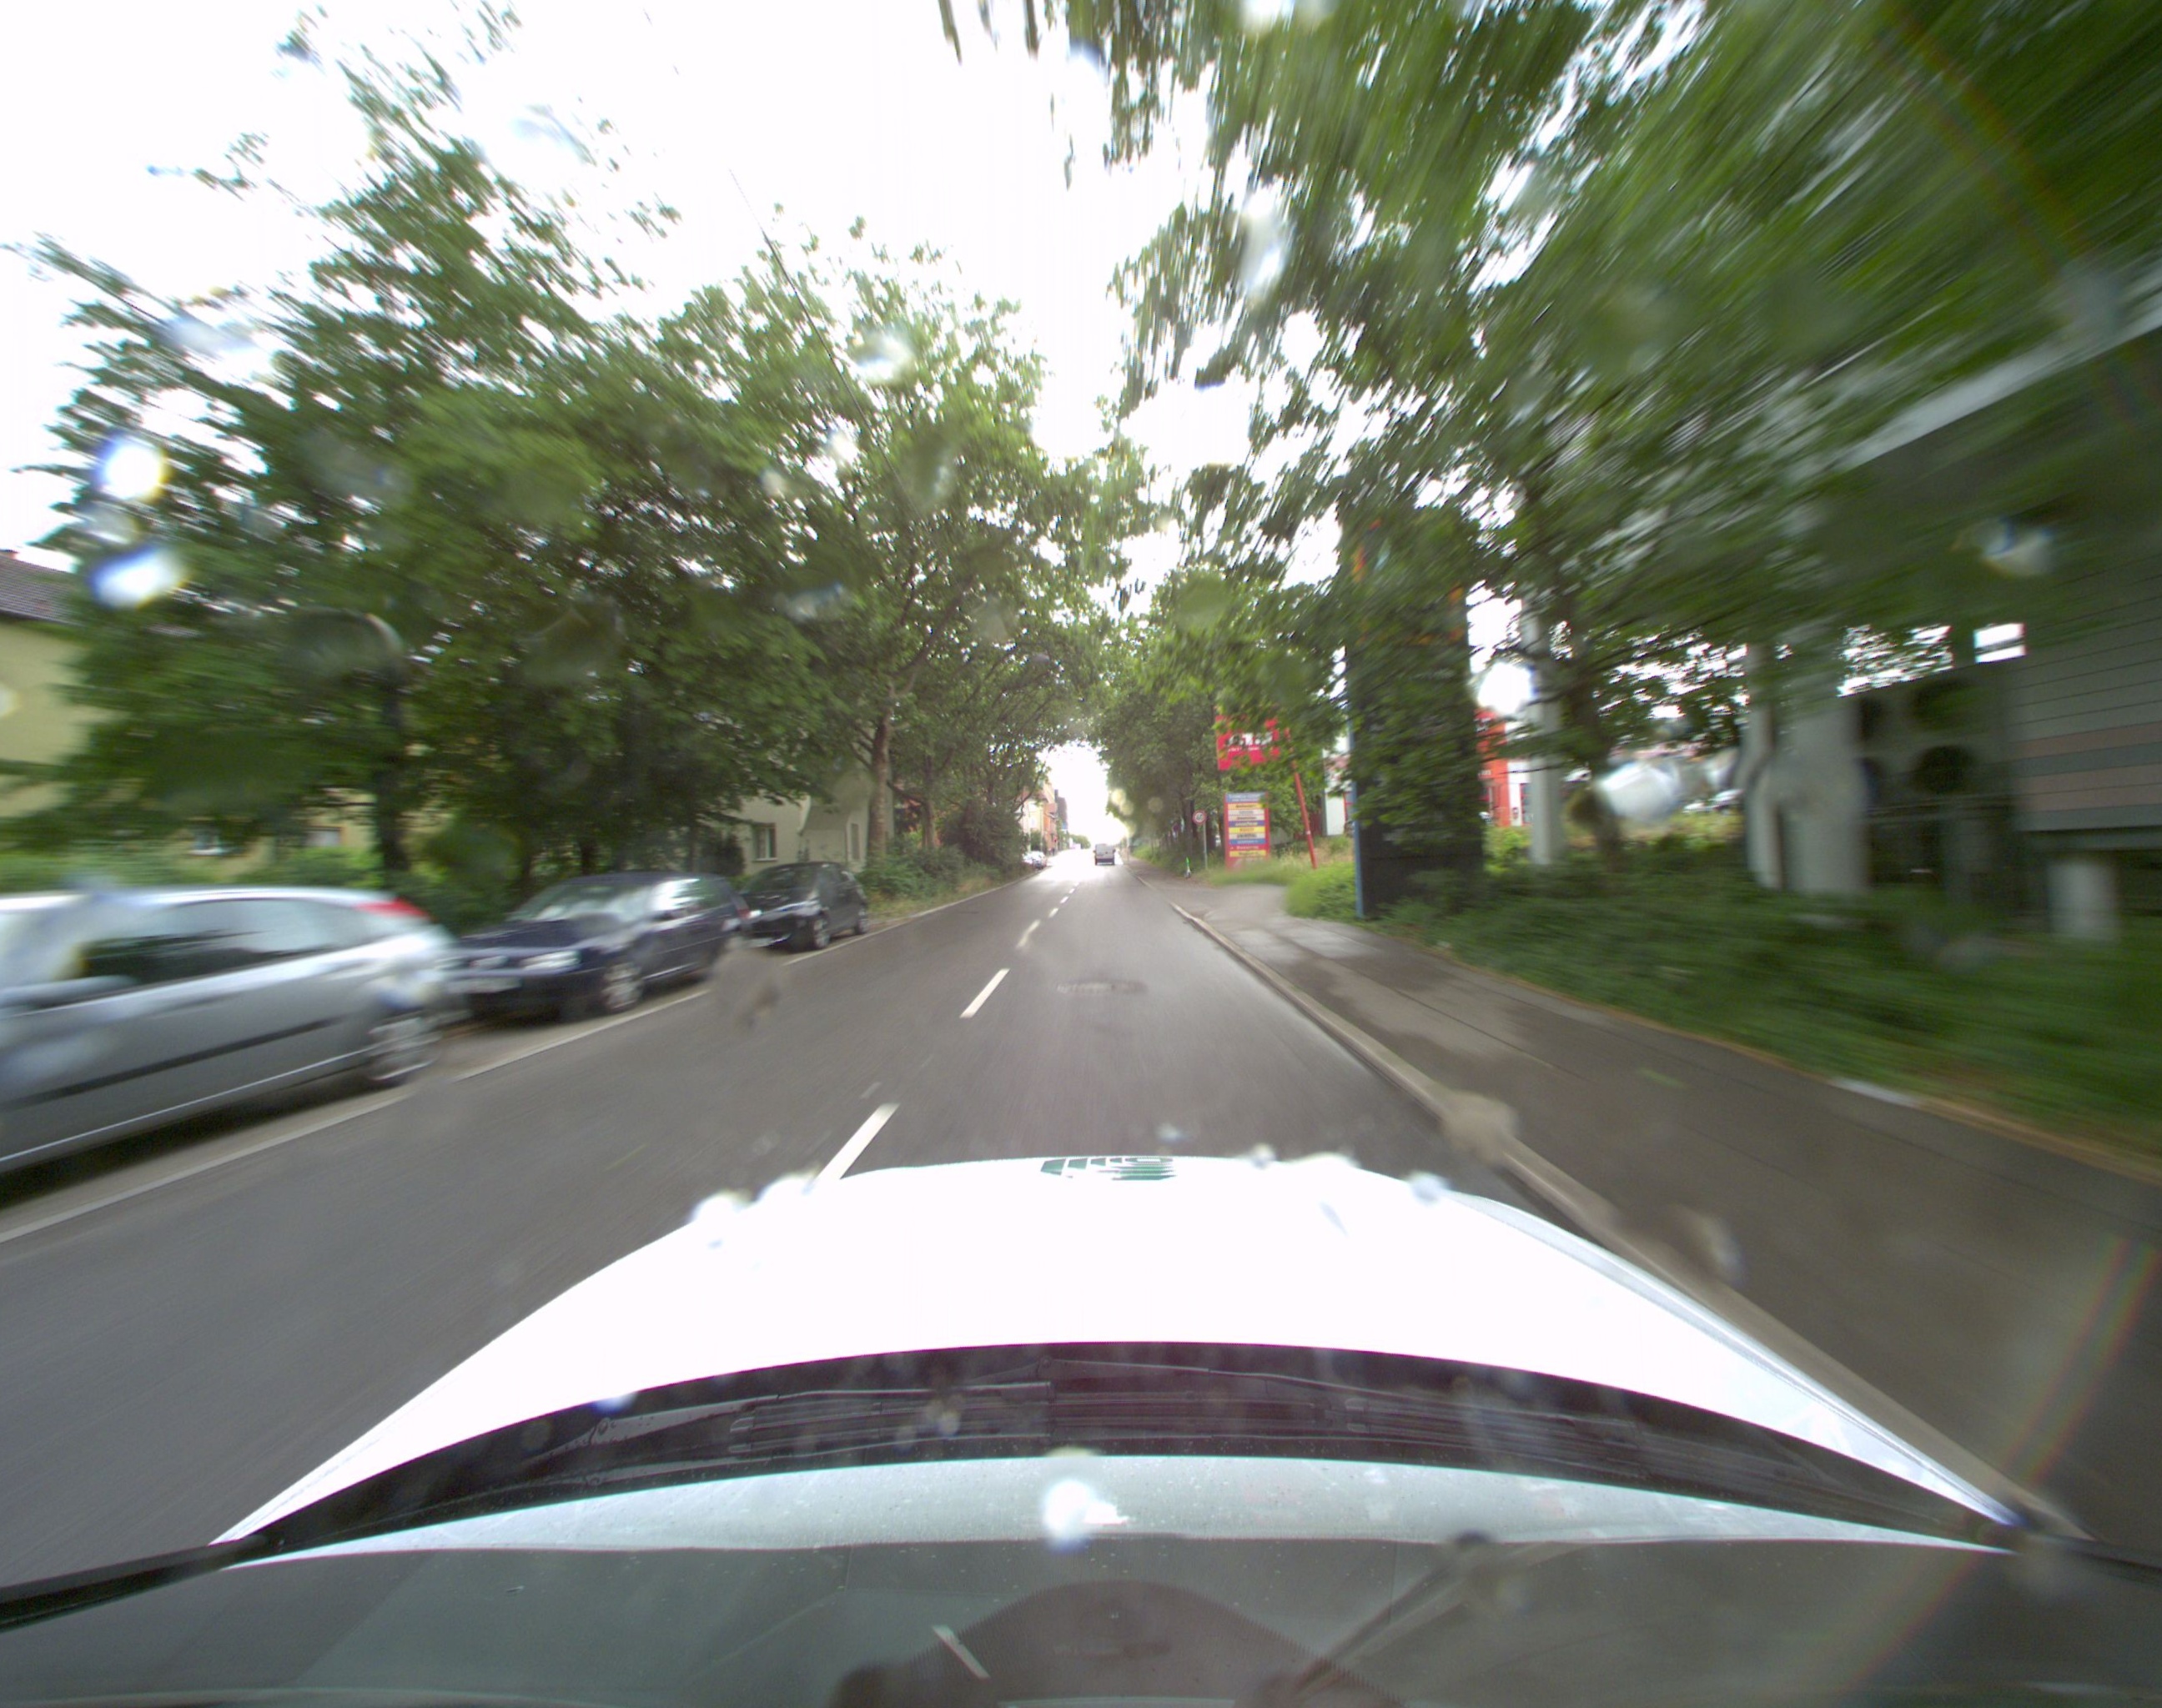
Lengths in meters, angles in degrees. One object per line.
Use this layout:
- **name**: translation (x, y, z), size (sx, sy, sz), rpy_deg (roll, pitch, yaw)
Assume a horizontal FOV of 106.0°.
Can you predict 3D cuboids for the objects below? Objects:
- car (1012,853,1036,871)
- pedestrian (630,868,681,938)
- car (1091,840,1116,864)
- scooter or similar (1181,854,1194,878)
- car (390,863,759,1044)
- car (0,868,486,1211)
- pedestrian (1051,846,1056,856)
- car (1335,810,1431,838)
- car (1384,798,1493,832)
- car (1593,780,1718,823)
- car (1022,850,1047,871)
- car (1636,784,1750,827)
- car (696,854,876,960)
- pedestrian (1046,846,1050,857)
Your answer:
- **car**: translation (-4.470, 0.614, 64.259), size (1.633, 1.373, 3.758), rpy_deg (-2, 0, 0)
- **pedestrian**: translation (-10.136, 1.167, 19.430), size (0.584, 1.620, 1.022), rpy_deg (0, -3, 3)
- **car**: translation (2.343, -0.169, 82.881), size (2.327, 2.231, 4.002), rpy_deg (-3, -1, 2)
- **scooter or similar**: translation (5.255, 0.598, 40.111), size (0.424, 1.142, 1.528), rpy_deg (0, -2, 0)
- **car**: translation (-5.512, 0.953, 9.553), size (1.666, 1.508, 3.876), rpy_deg (-5, 0, 2)
- **car**: translation (-5.691, 0.872, 4.469), size (1.665, 1.508, 4.126), rpy_deg (-1, 0, 3)
- **pedestrian**: translation (-5.359, -0.594, 158.306), size (0.668, 2.013, 0.943), rpy_deg (-2, 0, 6)
- **car**: translation (16.469, -1.625, 44.594), size (4.593, 1.334, 1.801), rpy_deg (-2, 0, 1)
- **car**: translation (16.025, -1.735, 36.657), size (4.085, 1.376, 1.903), rpy_deg (-1, 0, 1)
- **car**: translation (27.911, -2.544, 39.648), size (4.757, 1.783, 1.914), rpy_deg (-2, 0, -3)
- **car**: translation (-3.958, 0.506, 69.656), size (1.684, 1.542, 4.120), rpy_deg (-5, 1, 2)
- **car**: translation (27.627, -2.174, 36.822), size (3.977, 1.783, 1.659), rpy_deg (0, -2, -3)
- **car**: translation (-5.247, 0.852, 15.089), size (1.642, 1.538, 4.019), rpy_deg (-6, 0, 1)
- **pedestrian**: translation (-6.449, -0.473, 158.059), size (0.668, 2.013, 0.943), rpy_deg (-2, 0, 6)
